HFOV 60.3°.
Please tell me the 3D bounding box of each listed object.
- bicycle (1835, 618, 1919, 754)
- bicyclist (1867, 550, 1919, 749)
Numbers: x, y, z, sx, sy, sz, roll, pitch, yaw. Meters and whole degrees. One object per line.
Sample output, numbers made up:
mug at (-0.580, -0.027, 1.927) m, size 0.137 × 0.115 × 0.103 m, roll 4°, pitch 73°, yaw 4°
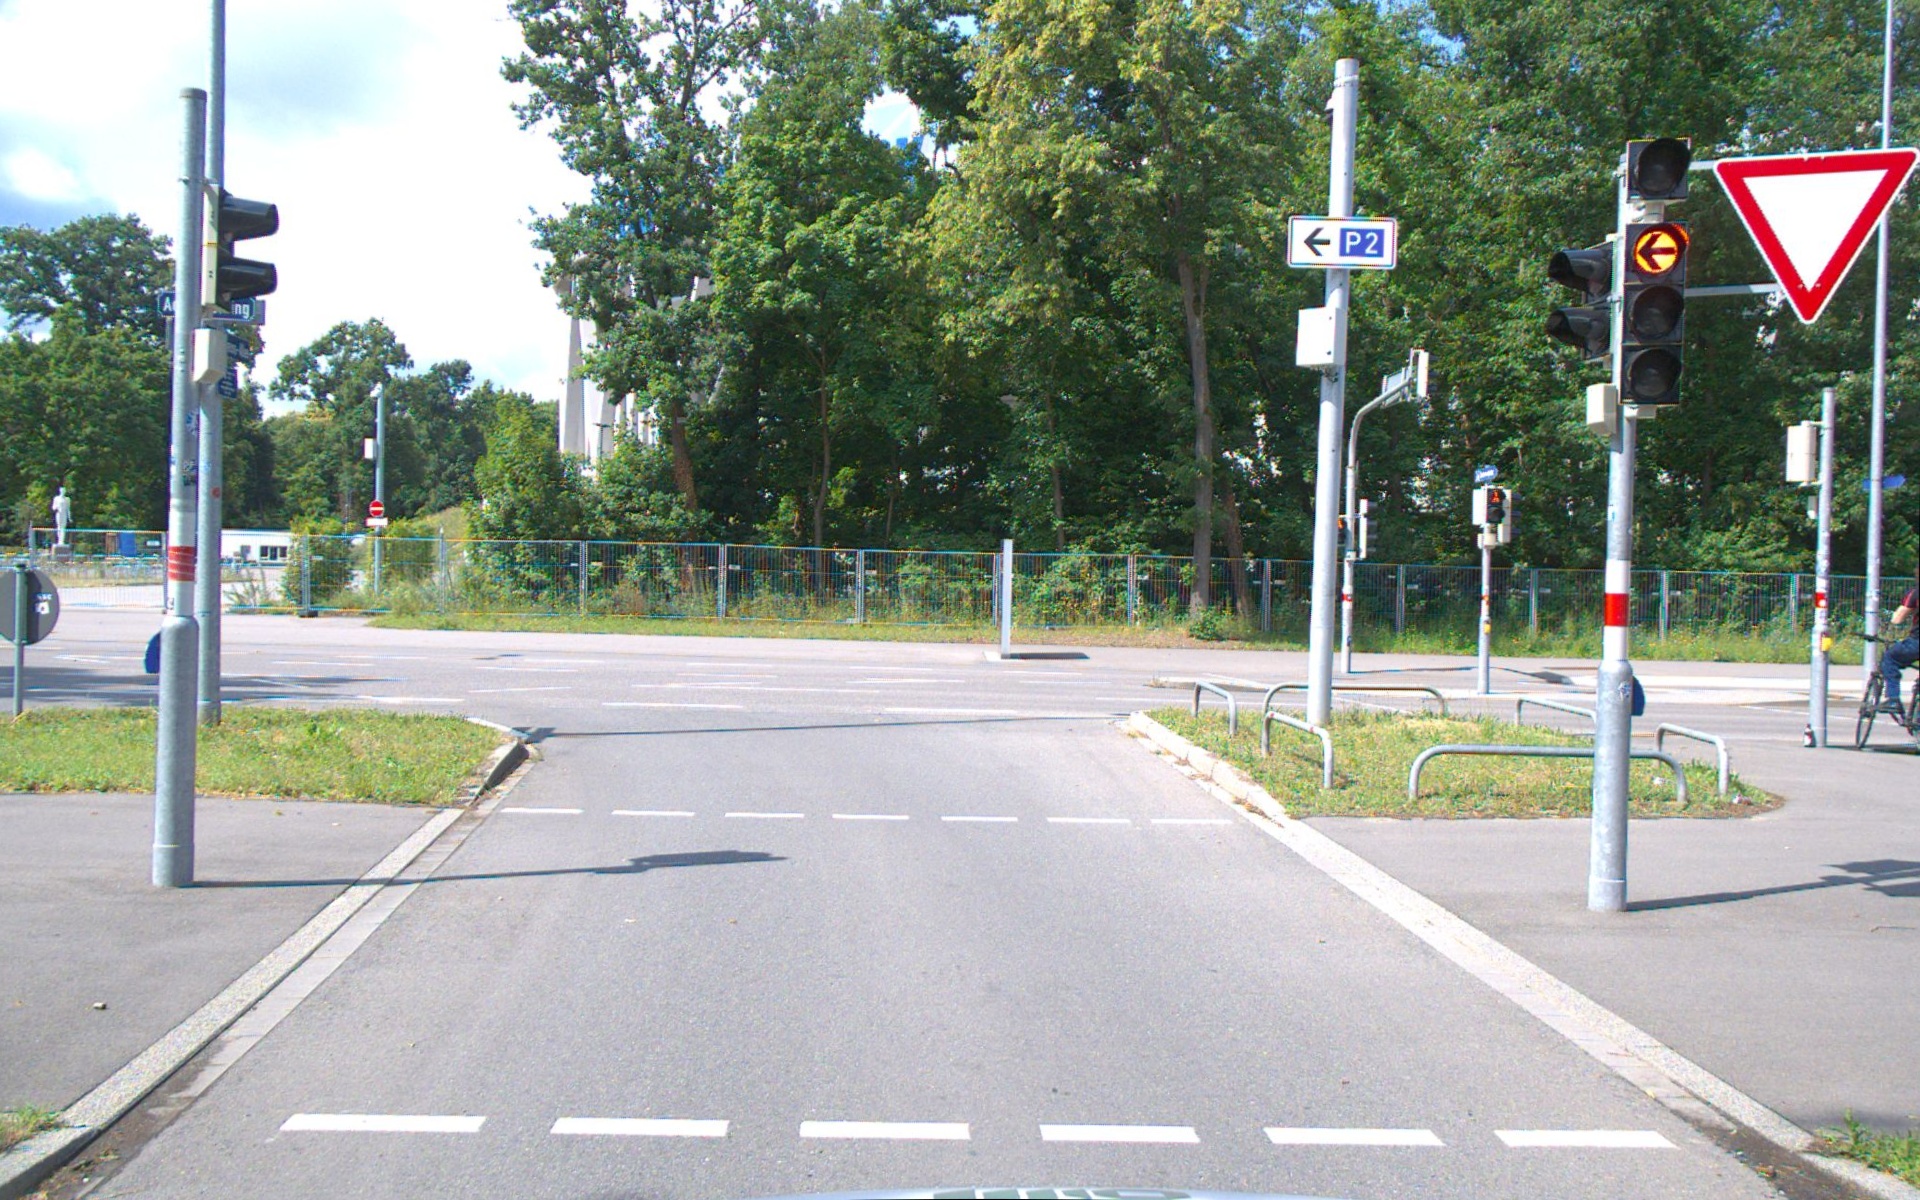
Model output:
bicycle at (9.240, 0.796, 15.908) m, size 0.861 × 1.227 × 1.899 m, roll 1°, pitch 0°, yaw 8°
bicyclist at (9.242, 0.464, 15.634) m, size 0.866 × 1.829 × 0.979 m, roll 1°, pitch -1°, yaw 7°
